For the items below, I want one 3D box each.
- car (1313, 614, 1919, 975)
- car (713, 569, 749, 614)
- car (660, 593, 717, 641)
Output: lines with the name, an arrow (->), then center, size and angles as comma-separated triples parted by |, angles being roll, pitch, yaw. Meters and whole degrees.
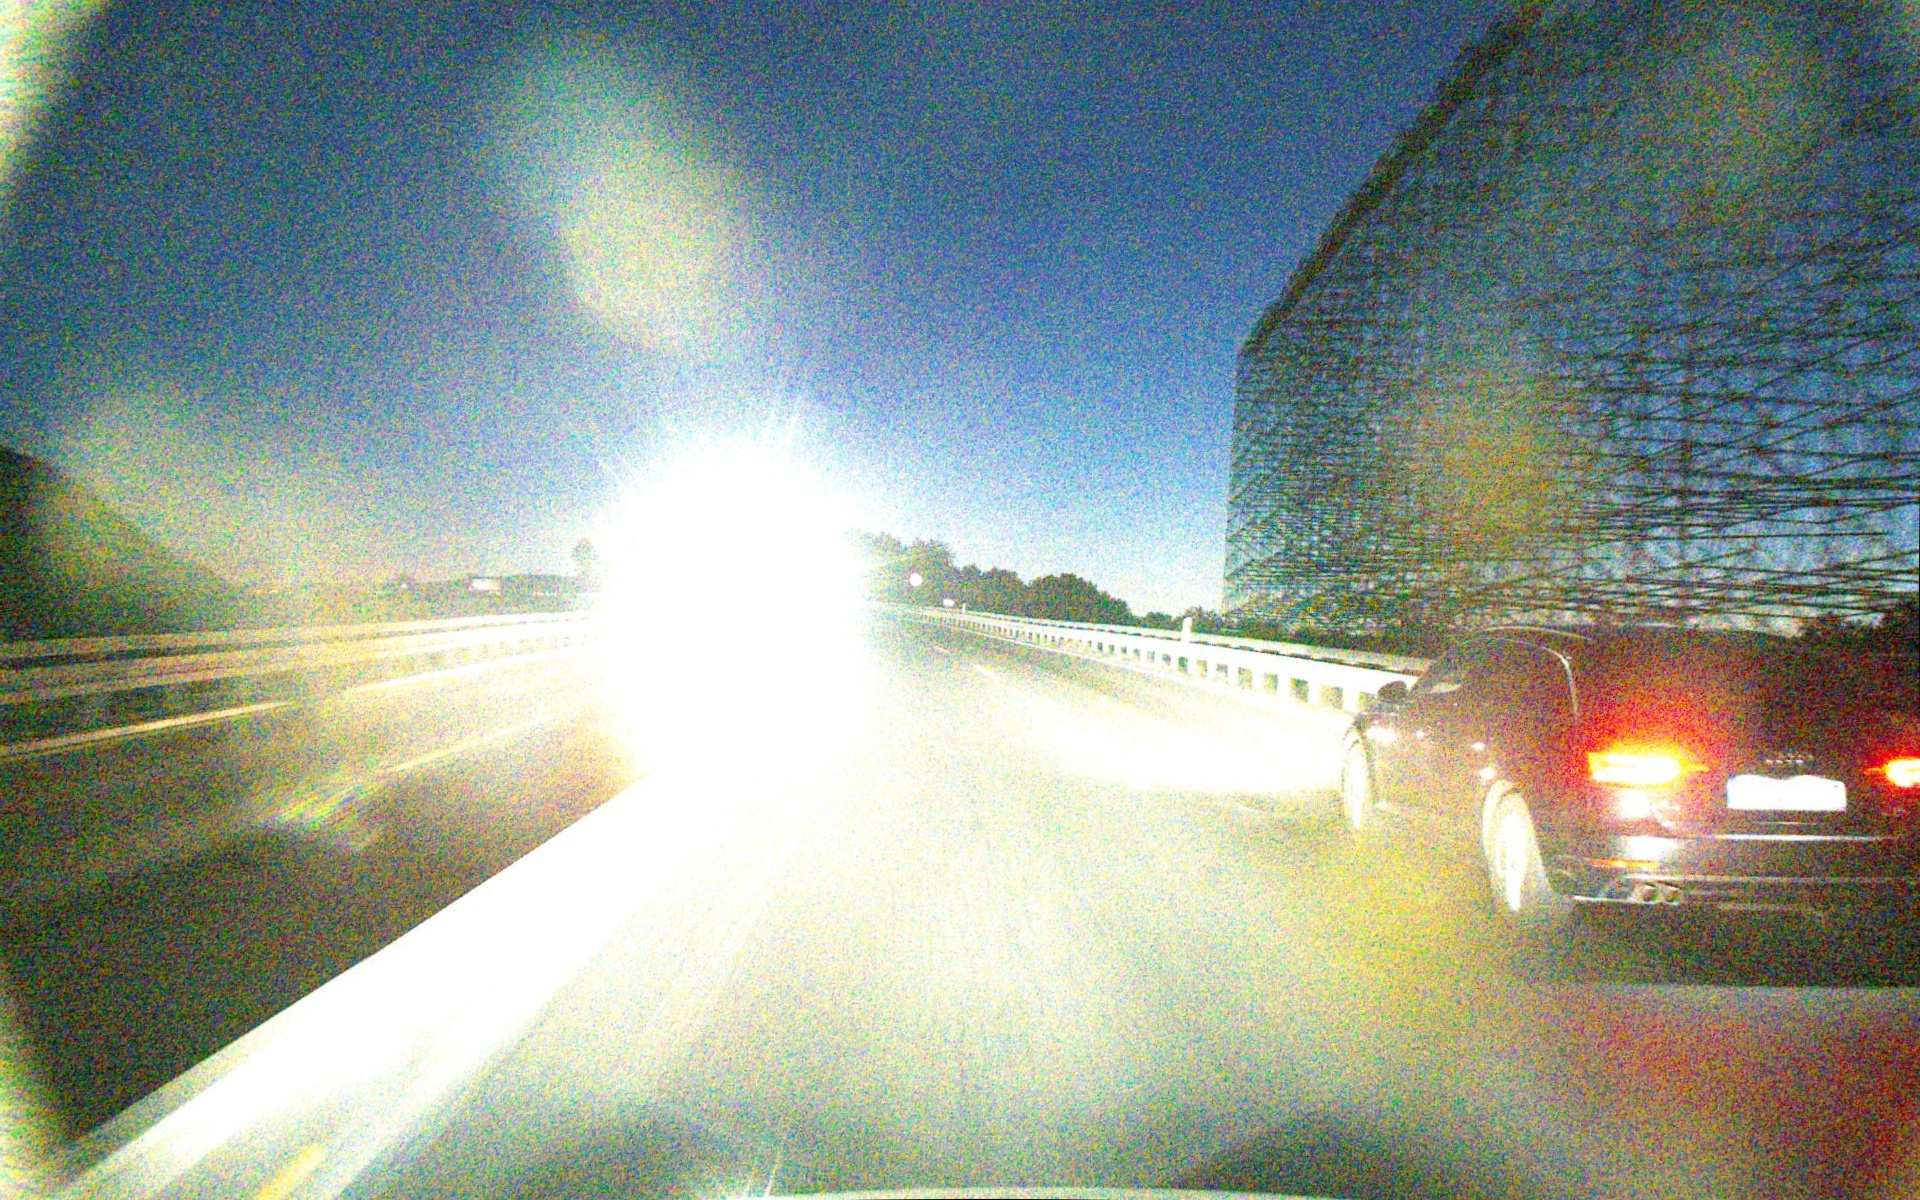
car -> 3.437, 0.819, 9.252 | 1.771, 1.451, 4.873 | 0, 0, -2
car -> -16.714, -0.547, 121.024 | 2.439, 3.160, 7.374 | 0, -1, -7
car -> -8.642, 0.532, 52.910 | 1.653, 1.484, 4.193 | 0, 0, -7
